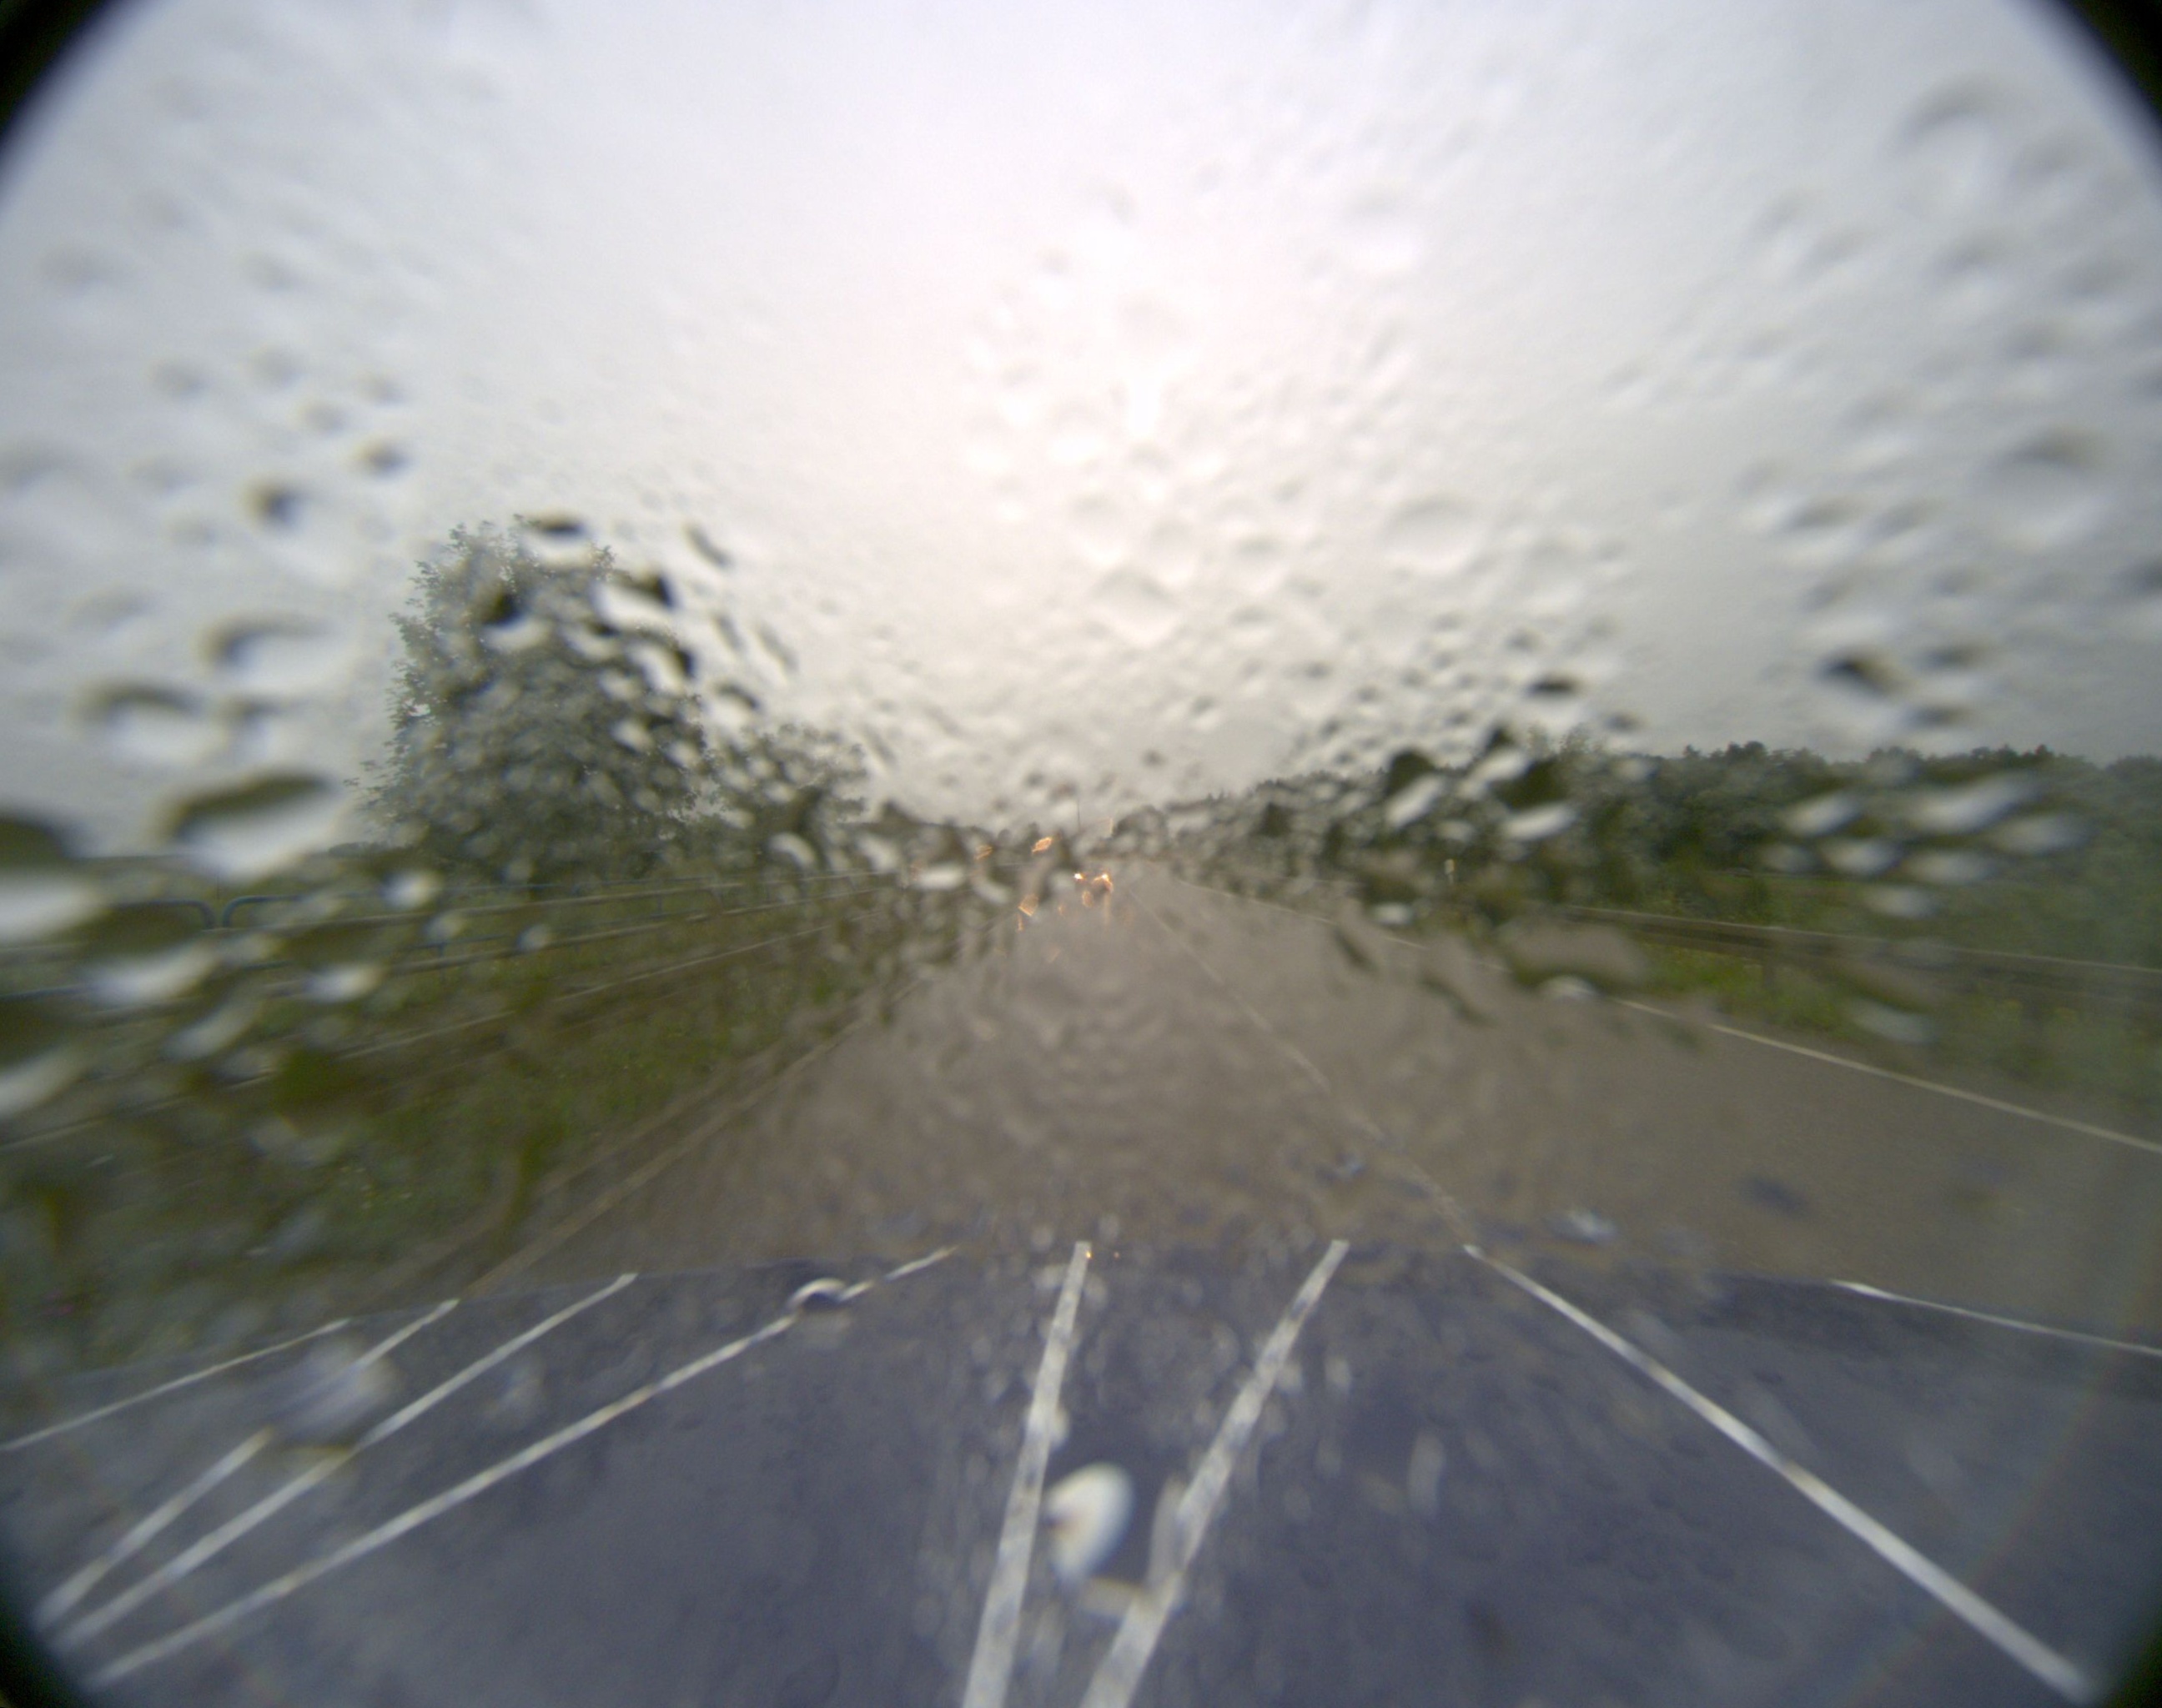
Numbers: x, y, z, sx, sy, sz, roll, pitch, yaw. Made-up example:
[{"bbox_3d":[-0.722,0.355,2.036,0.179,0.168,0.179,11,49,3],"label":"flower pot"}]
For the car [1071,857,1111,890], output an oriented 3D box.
[{"bbox_3d":[0.565,0.946,38.474,1.819,1.382,4.068,-3,1,2],"label":"car"}]
